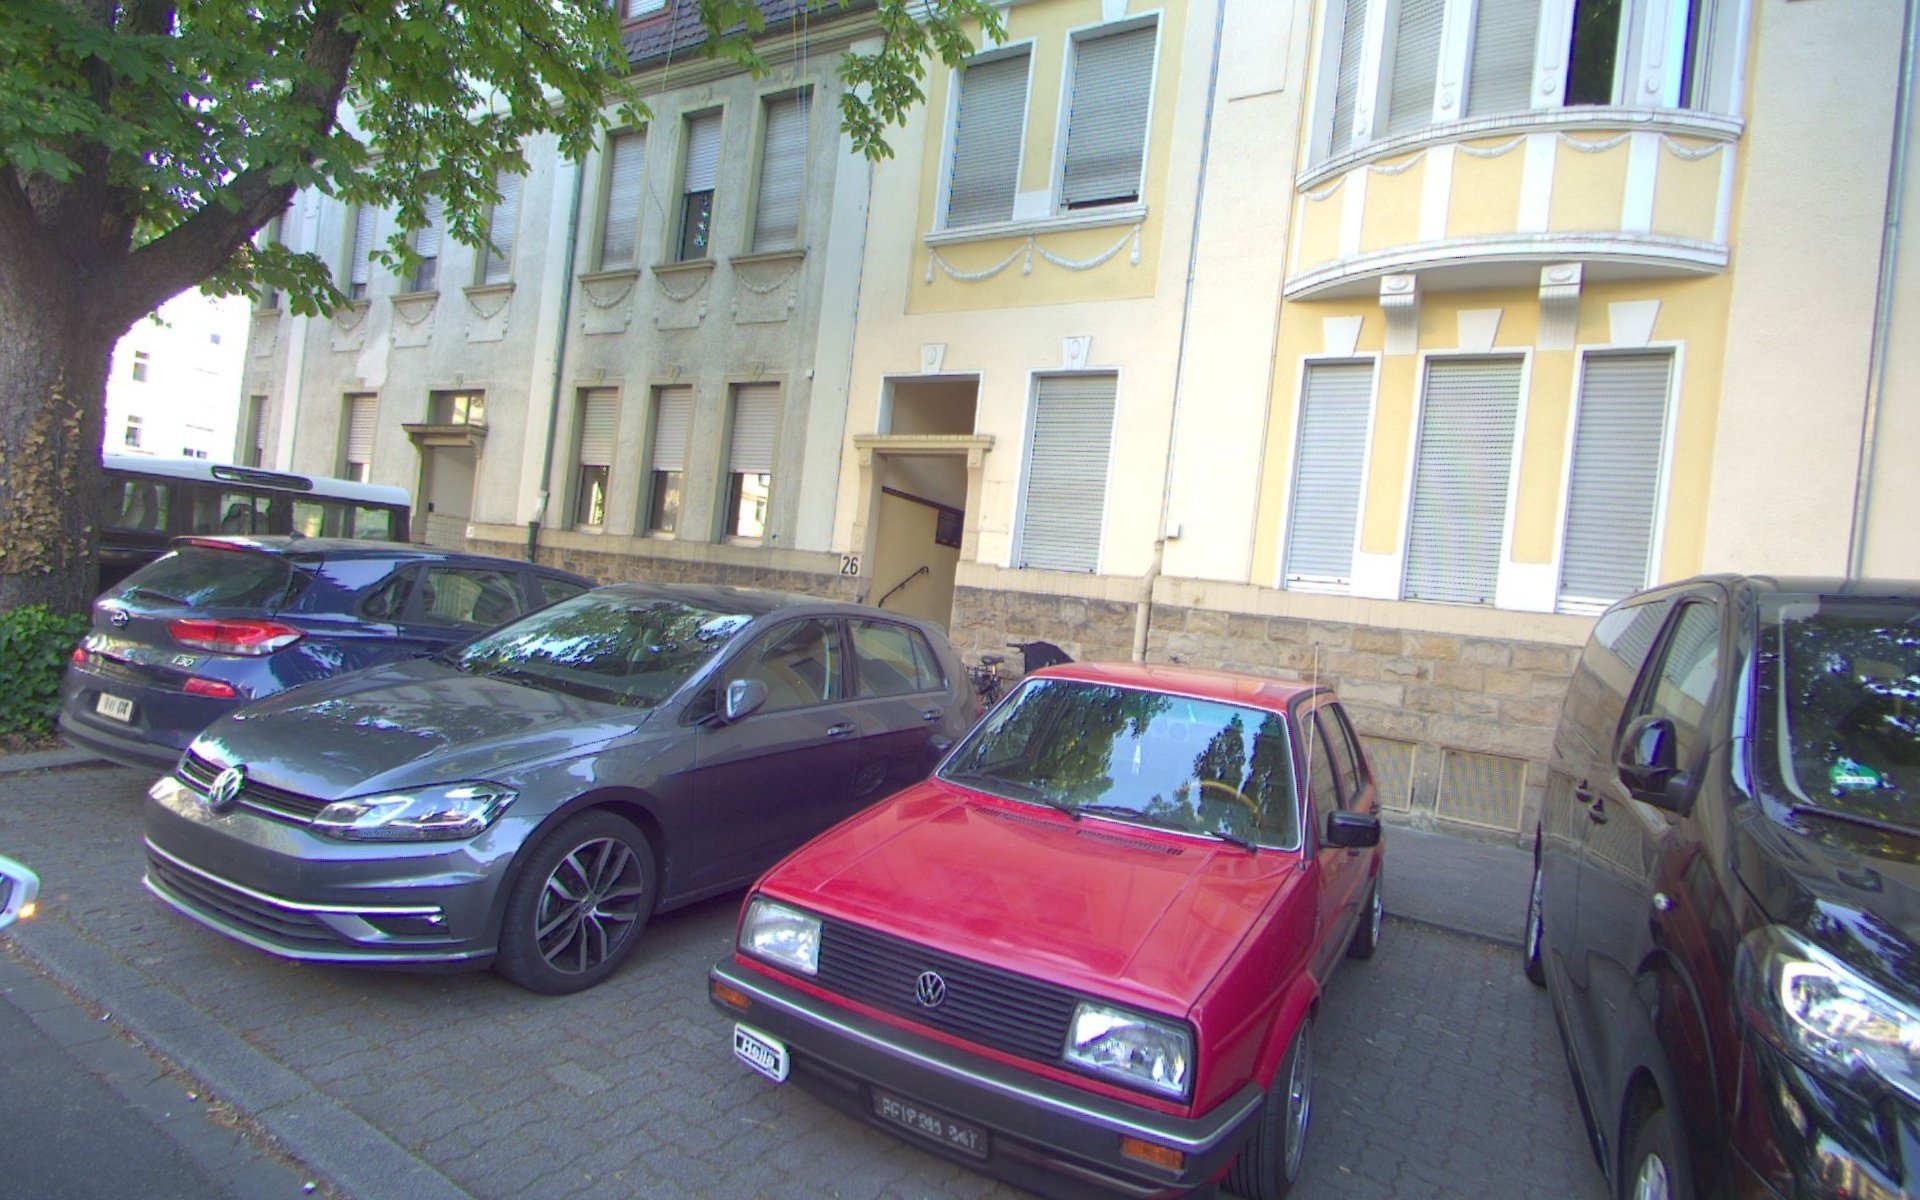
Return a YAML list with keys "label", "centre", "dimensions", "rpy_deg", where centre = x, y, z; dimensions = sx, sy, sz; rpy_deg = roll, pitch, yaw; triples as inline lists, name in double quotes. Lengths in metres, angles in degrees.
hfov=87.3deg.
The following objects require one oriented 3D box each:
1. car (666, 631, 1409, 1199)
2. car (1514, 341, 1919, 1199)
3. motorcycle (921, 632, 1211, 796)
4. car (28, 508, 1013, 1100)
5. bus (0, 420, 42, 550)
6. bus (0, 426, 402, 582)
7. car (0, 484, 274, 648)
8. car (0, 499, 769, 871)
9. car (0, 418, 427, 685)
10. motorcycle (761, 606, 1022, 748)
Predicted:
- label: "car"
  centre: [0.873, 0.941, 4.308]
  dimensions: [1.601, 1.332, 4.144]
  rpy_deg: [6, 0, 27]
- label: "car"
  centre: [2.850, 0.866, 2.880]
  dimensions: [1.864, 1.898, 4.759]
  rpy_deg: [6, 0, 27]
- label: "motorcycle"
  centre: [0.955, 0.988, 9.398]
  dimensions: [2.439, 1.087, 0.959]
  rpy_deg: [7, 2, 32]
- label: "car"
  centre: [-1.434, 0.617, 4.820]
  dimensions: [1.693, 1.470, 4.060]
  rpy_deg: [6, 0, 28]
- label: "bus"
  centre: [-27.306, -3.341, 23.374]
  dimensions: [2.859, 3.240, 8.199]
  rpy_deg: [7, -1, 24]
- label: "bus"
  centre: [-23.583, -2.722, 31.906]
  dimensions: [2.859, 3.240, 10.482]
  rpy_deg: [7, -1, 24]
- label: "car"
  centre: [-9.988, -0.394, 10.941]
  dimensions: [1.679, 1.589, 3.730]
  rpy_deg: [6, 0, 28]
- label: "car"
  centre: [-3.087, 0.419, 6.203]
  dimensions: [1.679, 1.470, 3.730]
  rpy_deg: [6, 0, 28]
- label: "car"
  centre: [-7.594, -0.376, 9.240]
  dimensions: [1.671, 2.061, 4.473]
  rpy_deg: [6, 0, 28]
- label: "motorcycle"
  centre: [-0.791, 0.767, 10.788]
  dimensions: [2.822, 1.087, 0.694]
  rpy_deg: [7, 2, 31]
